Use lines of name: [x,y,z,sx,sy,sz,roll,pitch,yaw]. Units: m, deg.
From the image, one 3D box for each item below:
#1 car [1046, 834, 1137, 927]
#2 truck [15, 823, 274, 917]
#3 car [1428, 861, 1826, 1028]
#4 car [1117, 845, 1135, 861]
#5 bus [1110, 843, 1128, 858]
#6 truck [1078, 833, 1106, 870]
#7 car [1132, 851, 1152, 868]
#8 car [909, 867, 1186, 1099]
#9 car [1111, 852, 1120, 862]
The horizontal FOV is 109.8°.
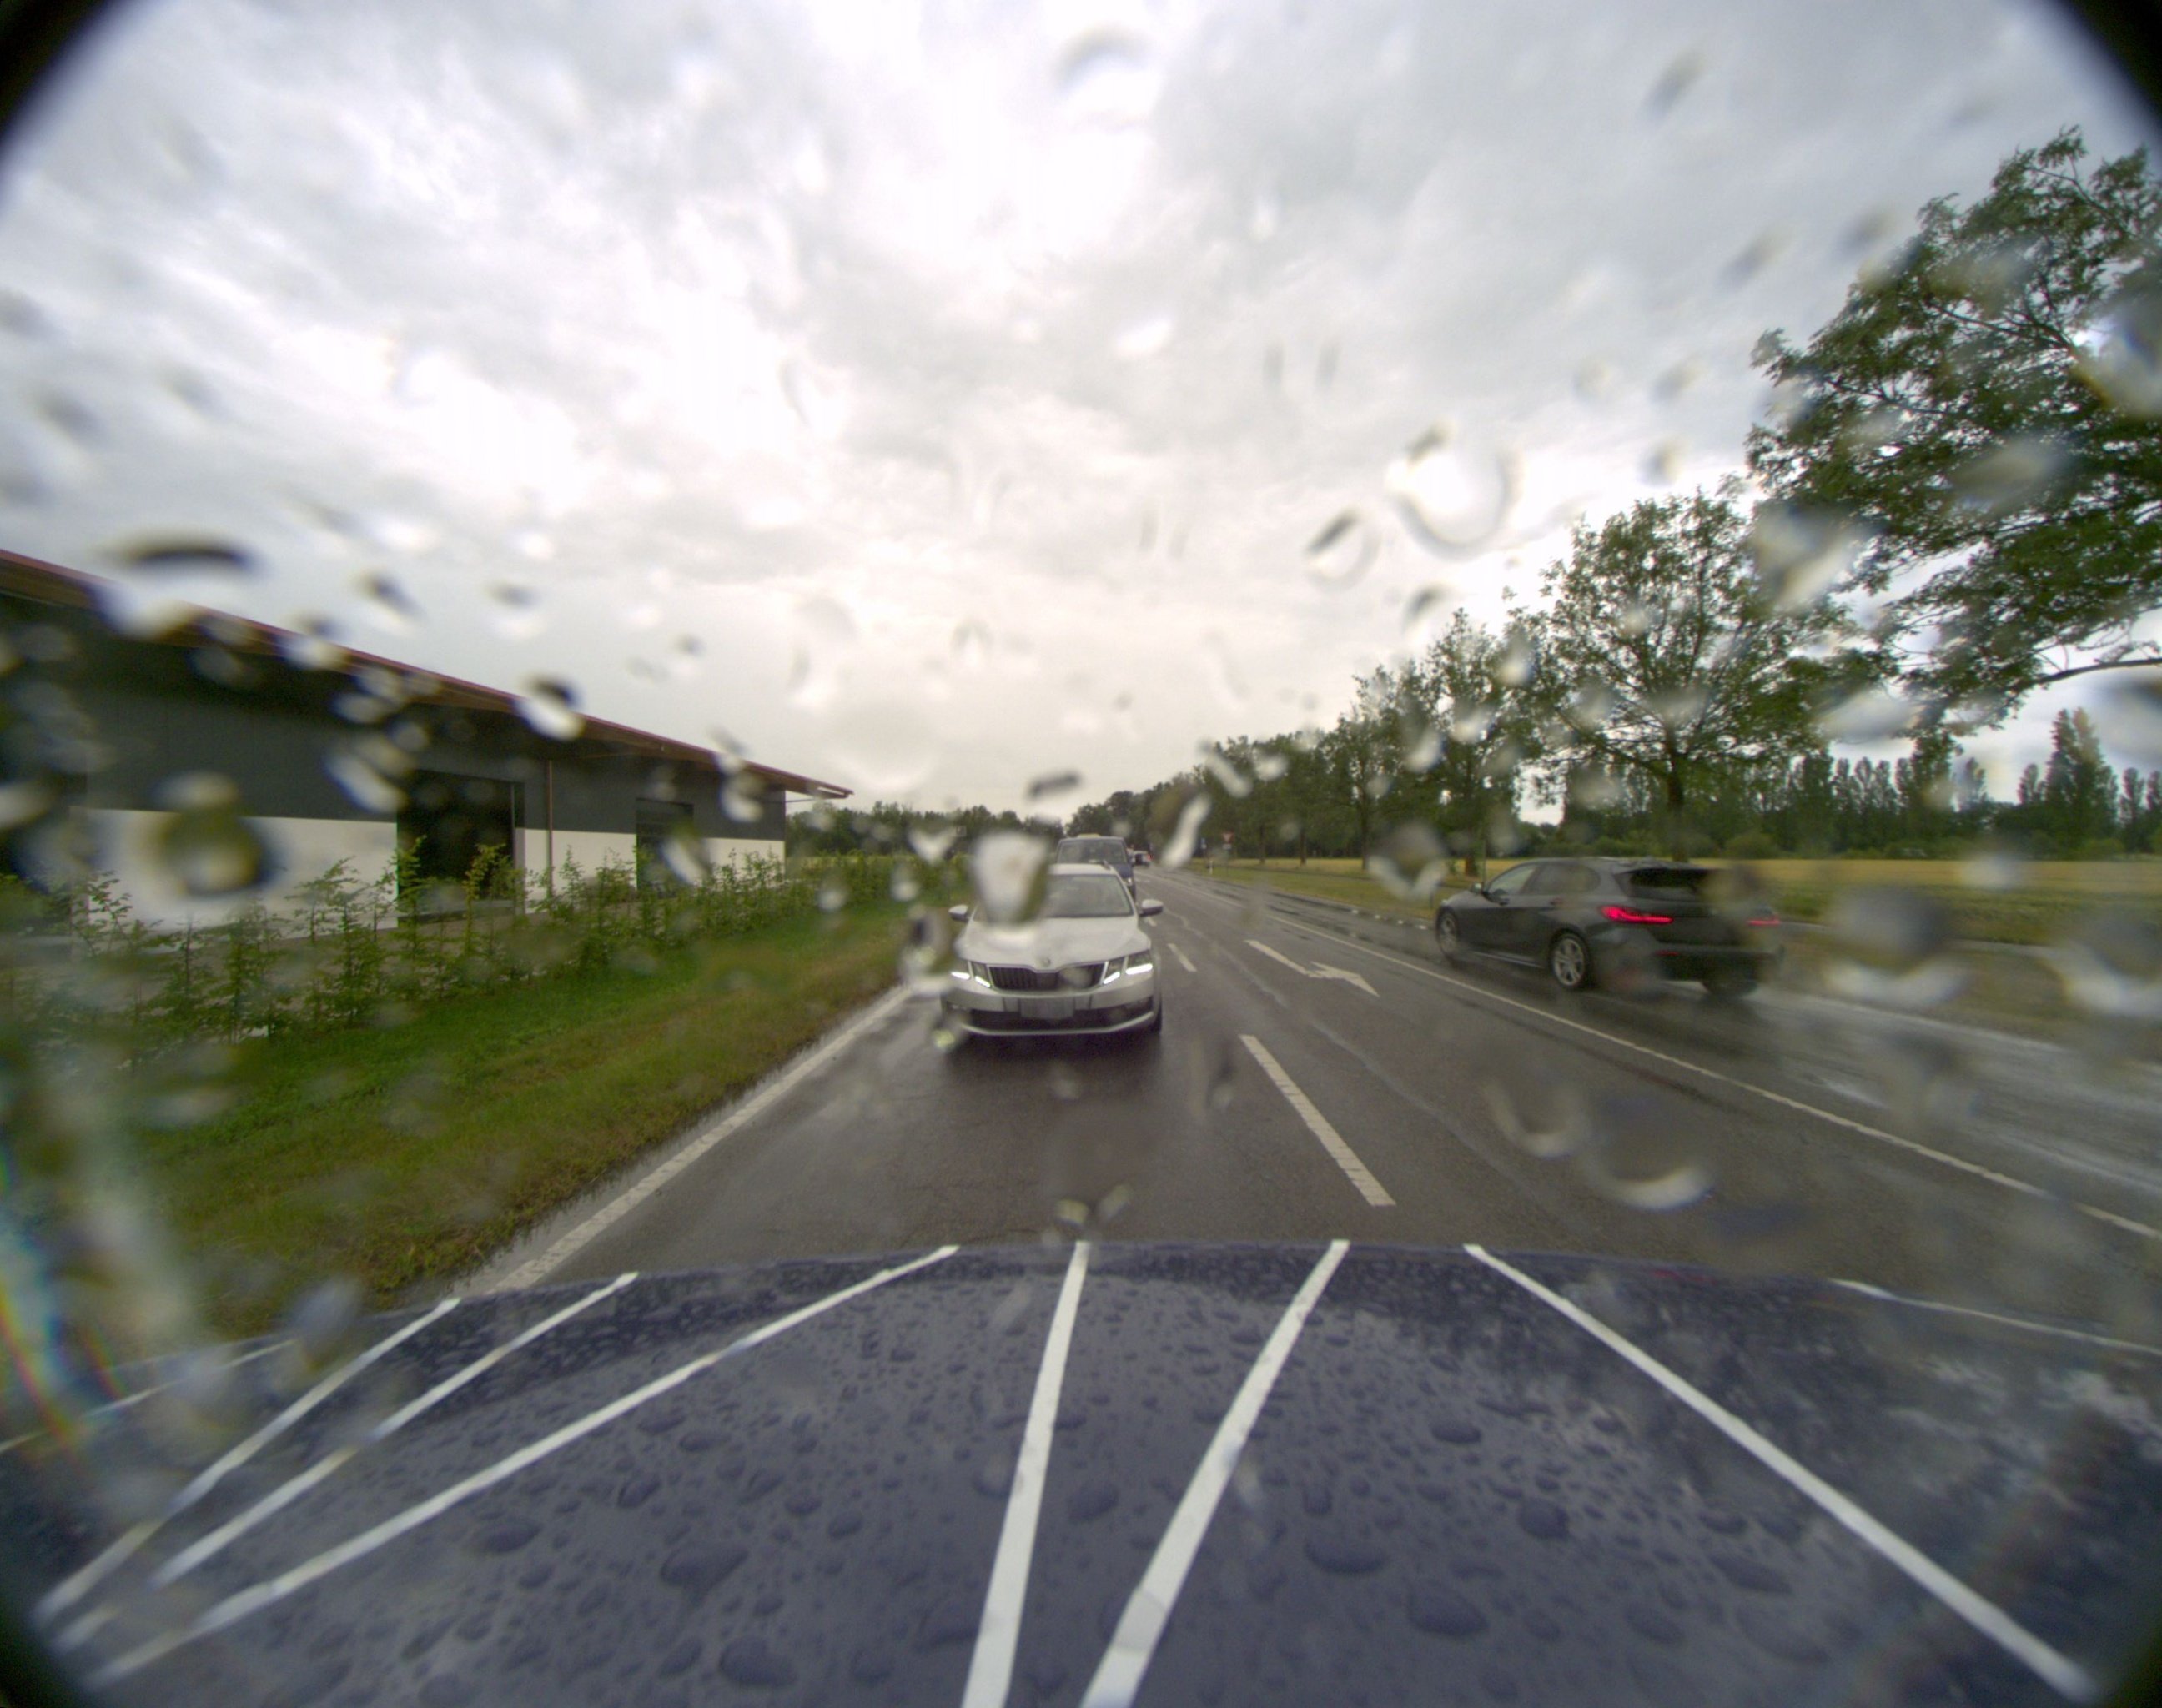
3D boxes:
car: [0.254,0.531,17.870,1.892,1.939,4.000,0,1,1]
truck: [-32.787,0.494,26.971,2.496,2.996,5.343,0,1,1]
car: [5.863,0.841,8.905,1.724,1.396,4.043,1,1,0]
car: [5.559,-0.107,94.740,1.921,1.851,4.684,1,1,0]
bus: [7.477,-0.772,151.559,2.958,2.895,12.472,0,1,0]
truck: [1.229,-0.344,86.874,2.931,3.829,14.119,0,1,1]
car: [6.166,0.553,77.218,1.708,1.661,4.156,1,1,2]
car: [-0.195,0.930,7.489,1.843,1.379,4.568,-2,1,1]
car: [5.701,0.530,125.749,1.504,1.521,3.301,1,1,2]
